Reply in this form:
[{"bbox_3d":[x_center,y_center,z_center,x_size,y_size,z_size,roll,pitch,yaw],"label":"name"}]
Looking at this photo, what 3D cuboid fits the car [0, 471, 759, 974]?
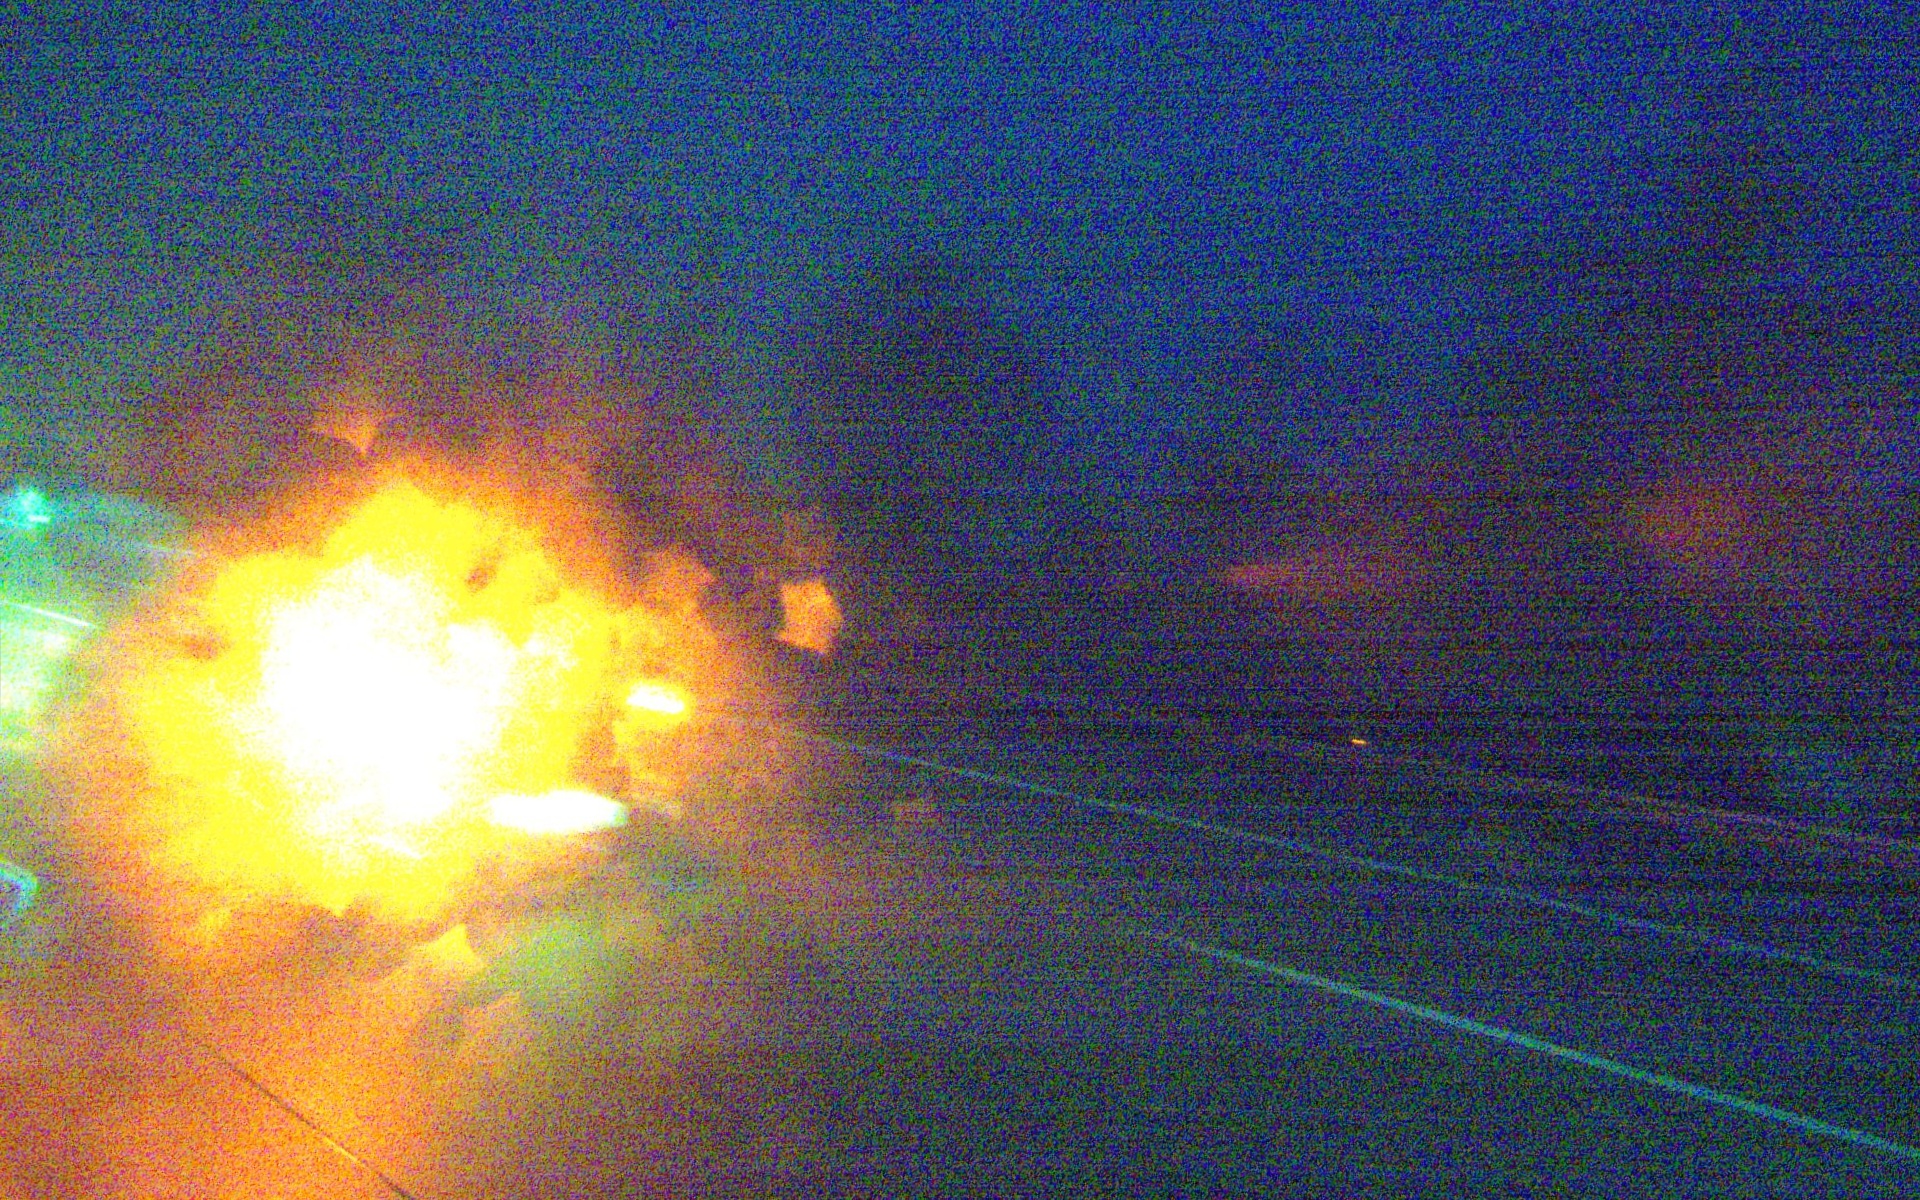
[{"bbox_3d":[-3.350,0.387,5.425,4.186,1.636,1.804,7,-2,32],"label":"car"}]
